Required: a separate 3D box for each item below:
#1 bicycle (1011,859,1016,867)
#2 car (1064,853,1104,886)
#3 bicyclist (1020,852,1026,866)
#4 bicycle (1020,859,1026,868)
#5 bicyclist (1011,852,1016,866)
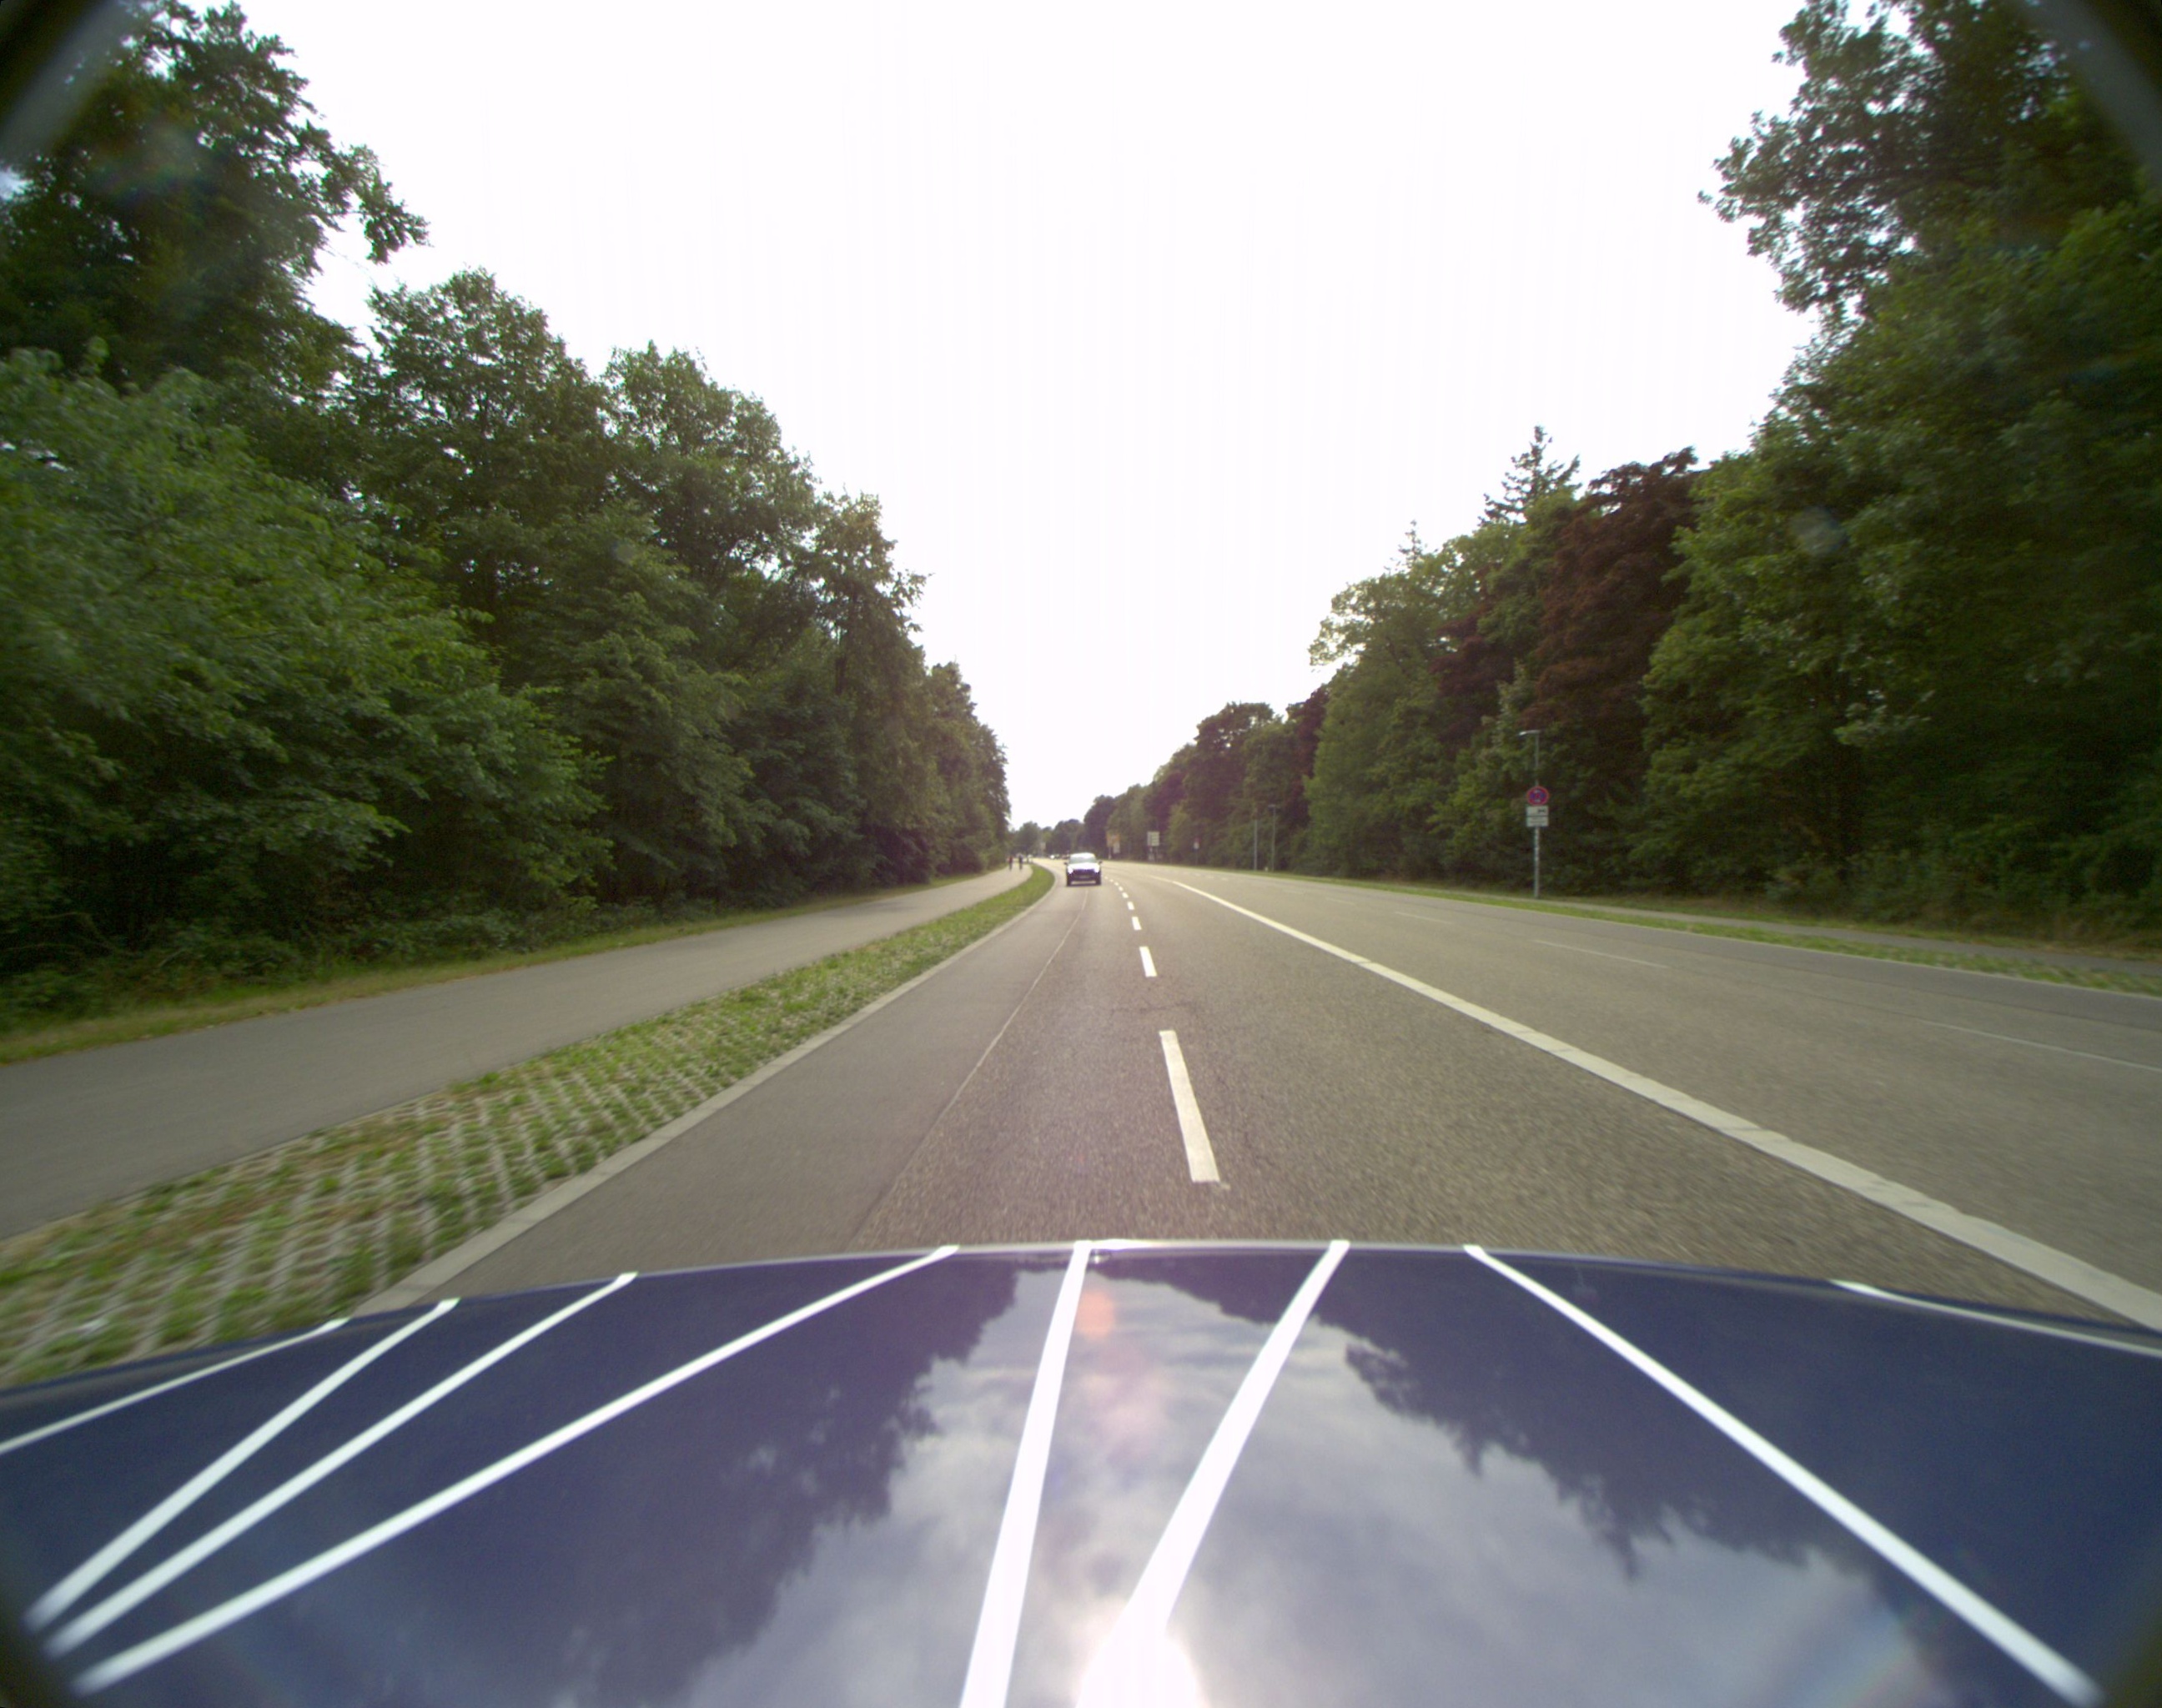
[{"bbox_3d":[-7.224,0.976,81.328,0.567,0.906,1.886,2,-1,-6],"label":"bicycle"},{"bbox_3d":[0.127,0.788,41.134,1.999,1.565,3.999,-3,1,-1],"label":"car"},{"bbox_3d":[-6.221,0.530,81.380,0.521,1.407,1.186,-1,1,-6],"label":"bicyclist"},{"bbox_3d":[-6.224,1.028,81.377,0.567,0.906,1.753,1,1,-6],"label":"bicycle"},{"bbox_3d":[-7.241,0.507,81.351,0.521,1.407,1.186,-3,1,-6],"label":"bicyclist"}]
